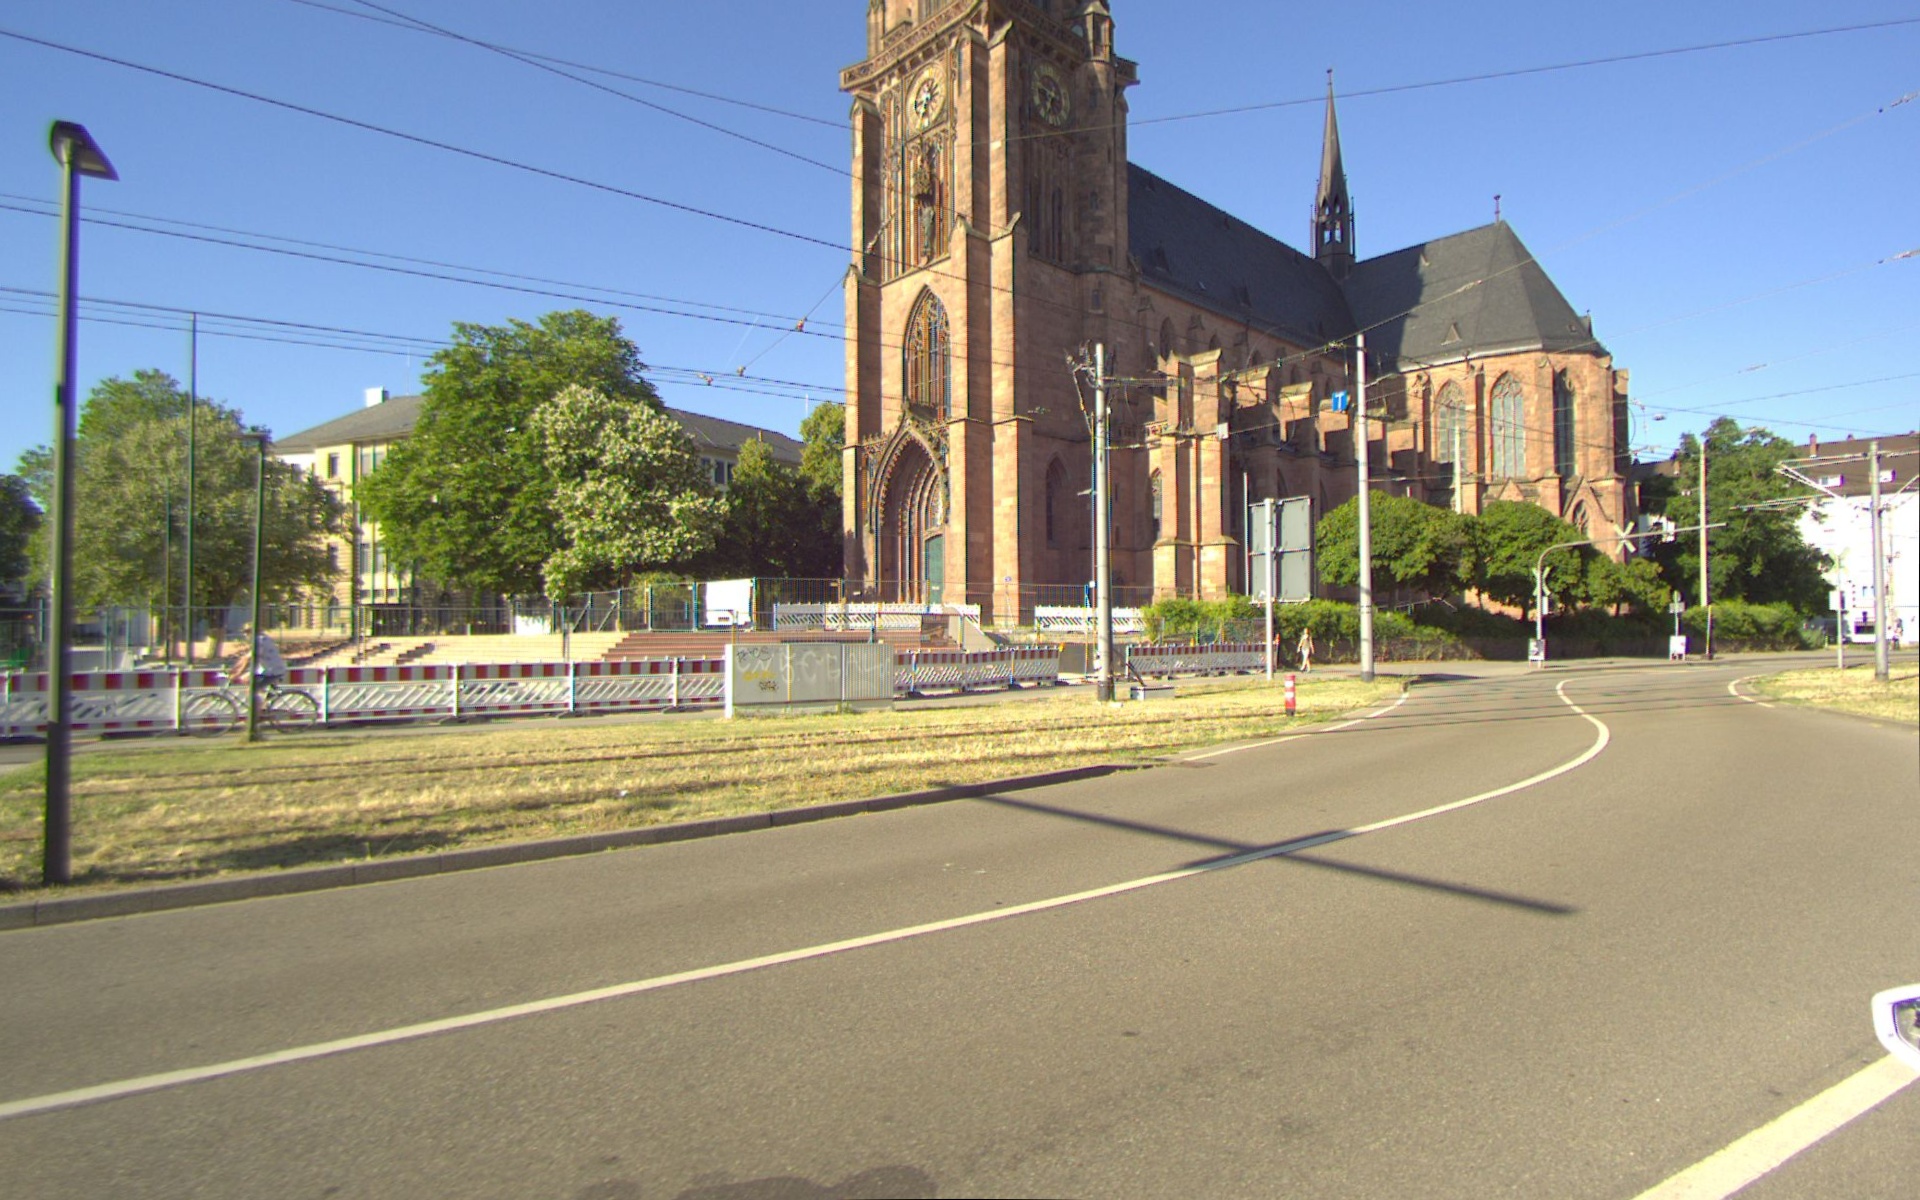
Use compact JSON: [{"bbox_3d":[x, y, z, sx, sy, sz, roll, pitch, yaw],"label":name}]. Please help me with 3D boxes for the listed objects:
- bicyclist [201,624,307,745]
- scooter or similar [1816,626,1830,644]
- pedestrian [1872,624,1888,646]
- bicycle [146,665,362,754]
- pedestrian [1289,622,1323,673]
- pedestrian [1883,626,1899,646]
[{"bbox_3d":[-11.598,1.353,16.512,1.308,1.833,0.955,-3,0,-38],"label":"bicyclist"},{"bbox_3d":[64.881,2.637,75.500,1.216,1.277,0.399,-3,-1,-31],"label":"scooter or similar"},{"bbox_3d":[70.905,2.731,77.404,0.887,1.619,0.641,-3,-1,-31],"label":"pedestrian"},{"bbox_3d":[-11.550,1.745,16.527,2.799,1.111,0.955,-3,0,-39],"label":"bicycle"},{"bbox_3d":[12.832,1.757,37.265,0.854,1.797,0.724,-3,-1,-34],"label":"pedestrian"},{"bbox_3d":[71.245,2.759,76.843,0.905,1.487,0.586,-3,-1,-31],"label":"pedestrian"}]
